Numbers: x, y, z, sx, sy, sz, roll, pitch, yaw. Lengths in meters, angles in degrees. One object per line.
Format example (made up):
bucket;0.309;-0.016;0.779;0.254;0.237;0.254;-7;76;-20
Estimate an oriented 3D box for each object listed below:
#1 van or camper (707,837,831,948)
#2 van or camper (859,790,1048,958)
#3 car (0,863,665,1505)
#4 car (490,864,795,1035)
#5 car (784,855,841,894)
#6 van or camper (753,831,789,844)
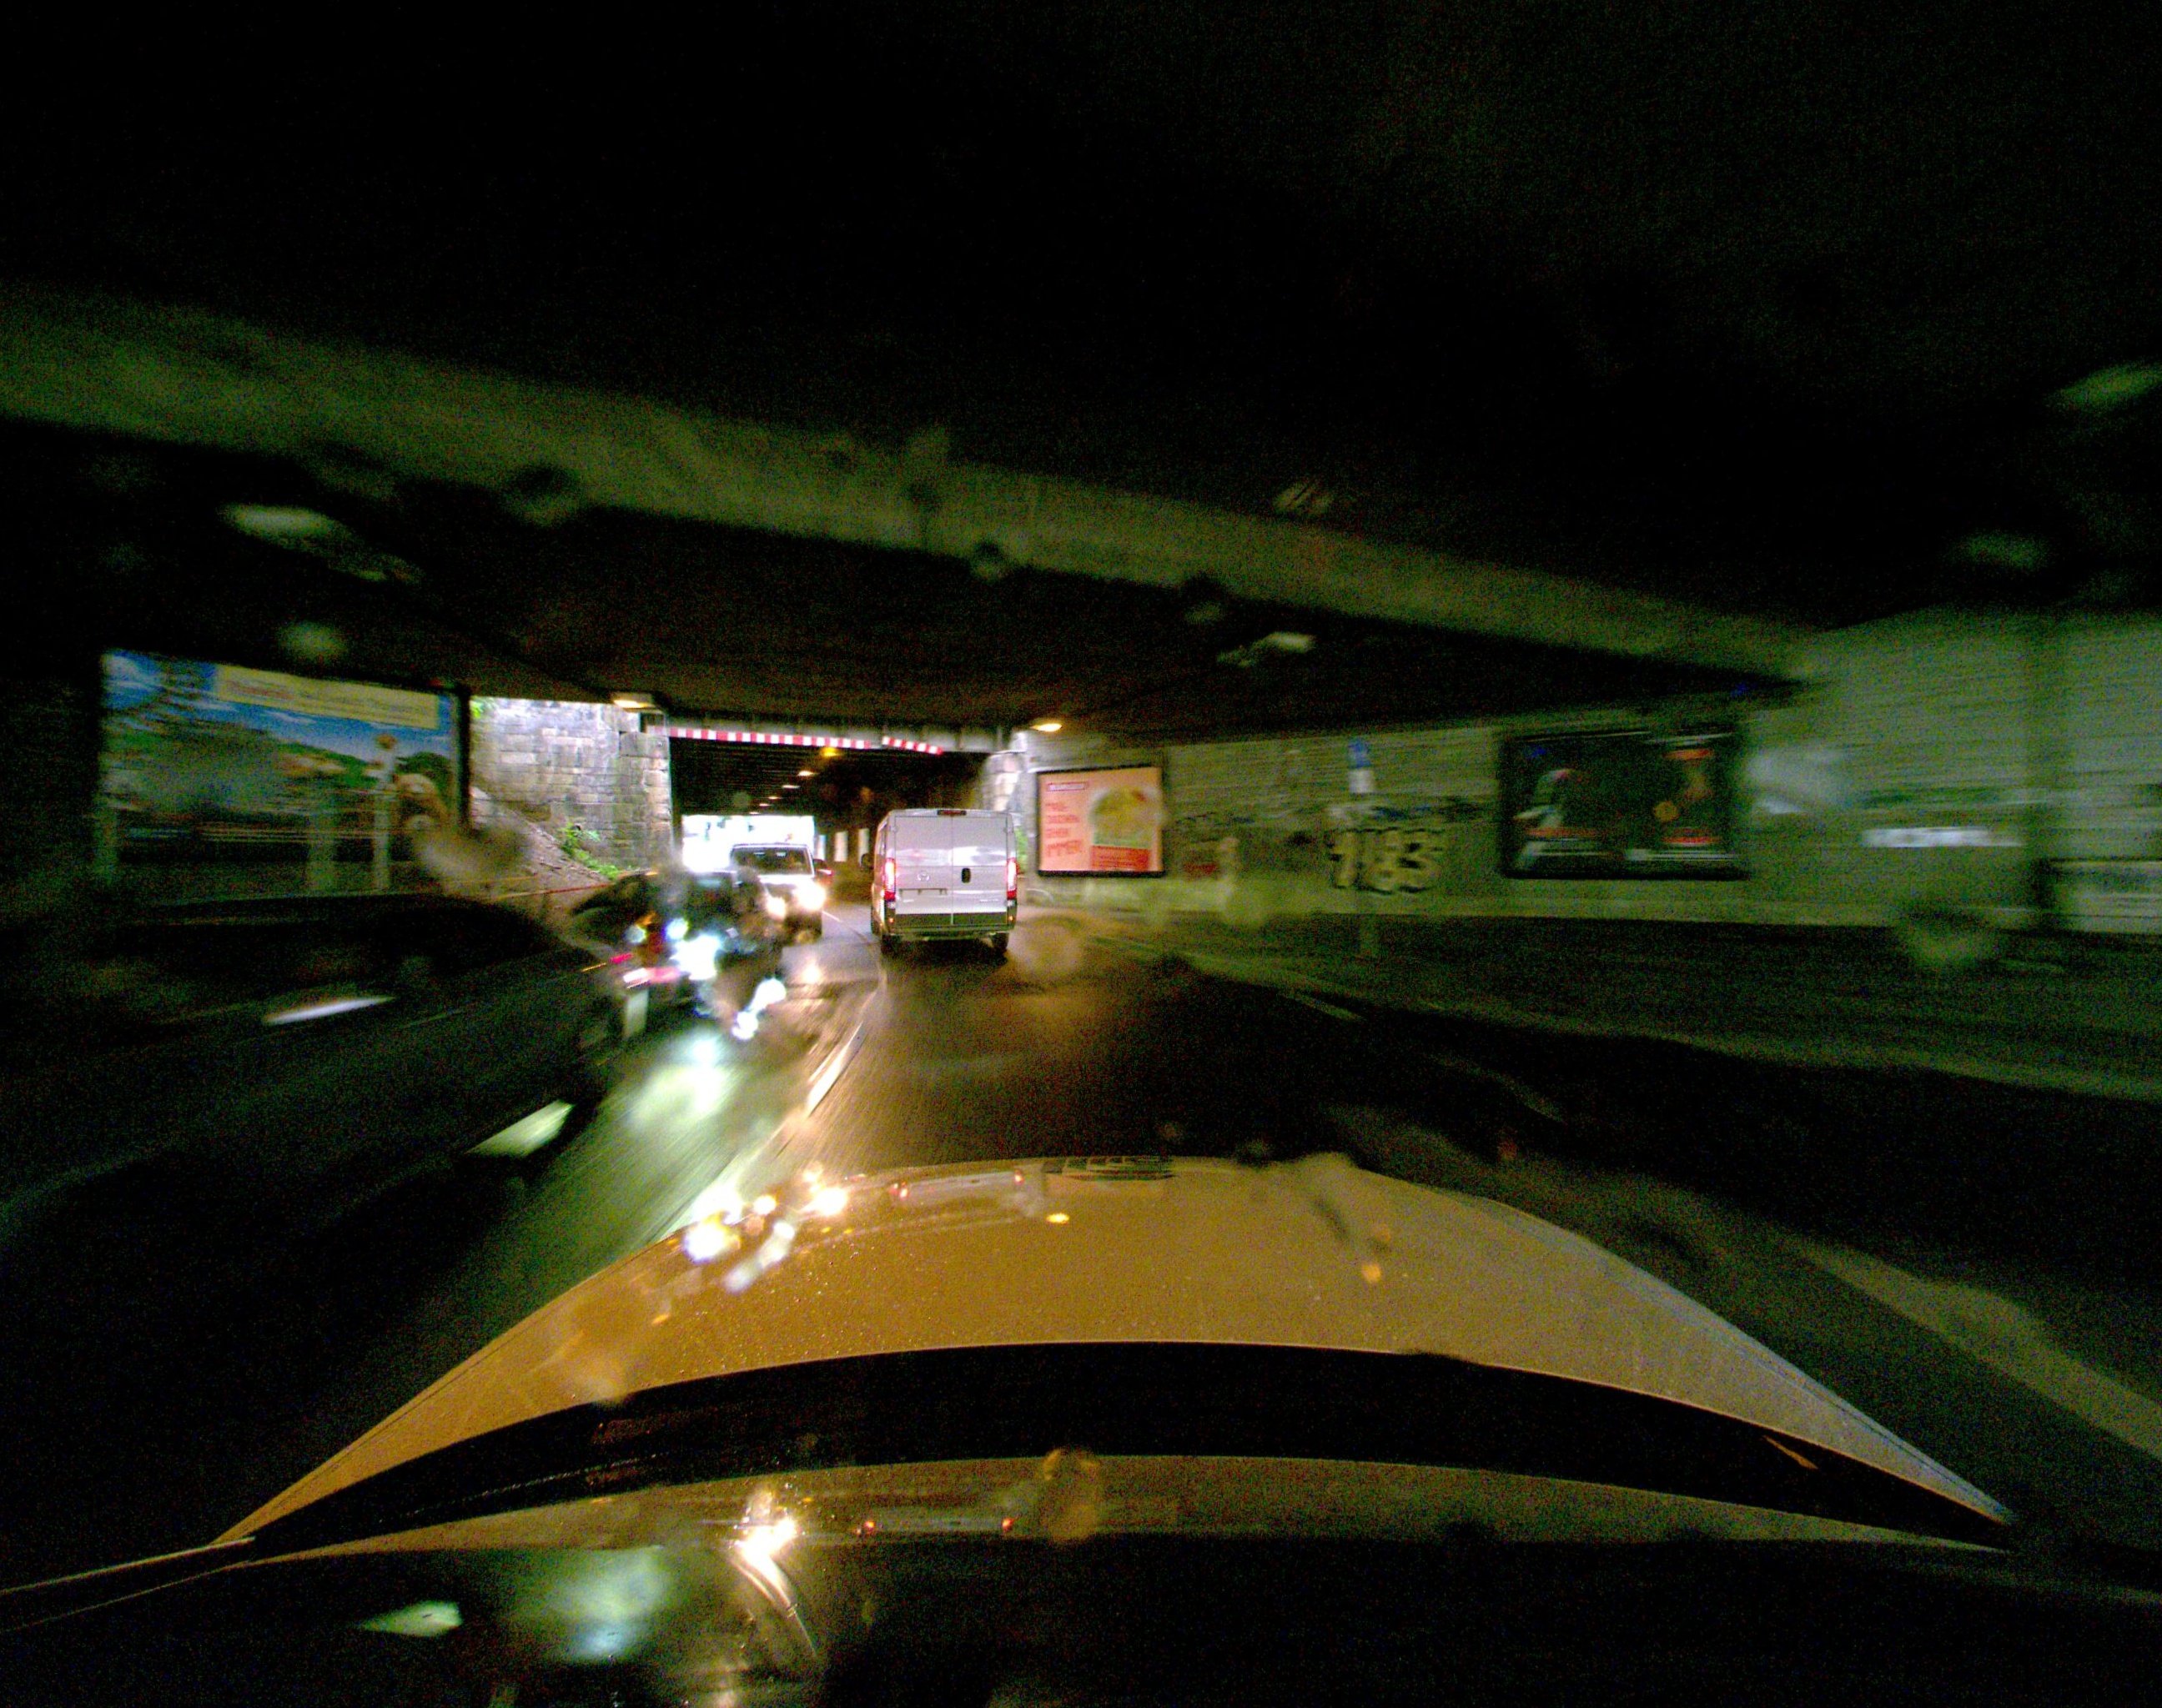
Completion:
van or camper;-6.501;0.692;16.774;2.002;1.868;5.099;-2;0;-23
van or camper;-2.494;0.320;14.442;2.704;2.417;4.876;-1;-1;-16
car;-3.784;0.843;3.542;1.991;1.530;4.490;-2;0;-6
car;-4.741;0.890;9.580;1.995;1.465;4.089;-2;0;-11
car;-11.187;0.801;33.772;1.844;1.438;4.070;-2;0;-24
van or camper;-50.398;-2.720;132.561;5.327;2.013;2.064;-1;0;-21
